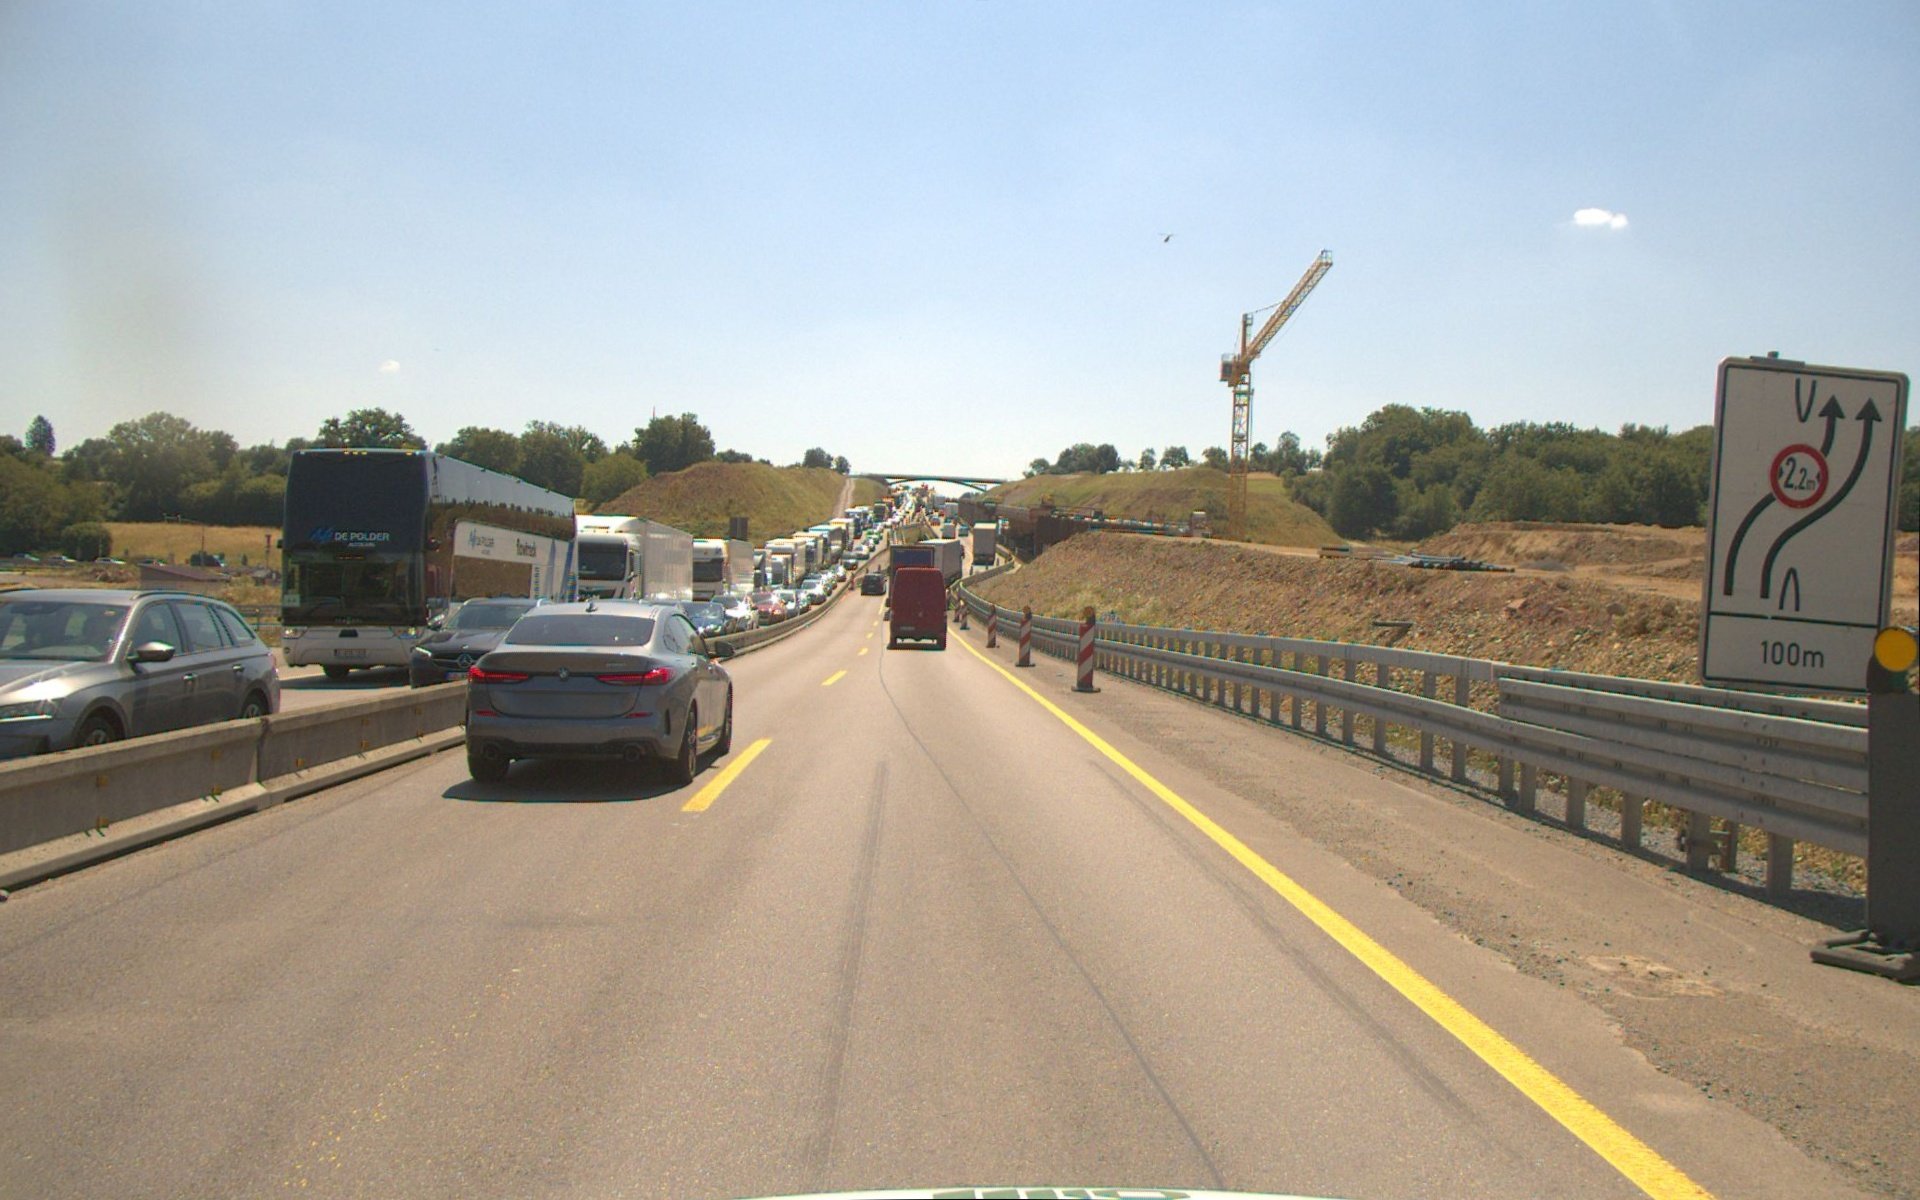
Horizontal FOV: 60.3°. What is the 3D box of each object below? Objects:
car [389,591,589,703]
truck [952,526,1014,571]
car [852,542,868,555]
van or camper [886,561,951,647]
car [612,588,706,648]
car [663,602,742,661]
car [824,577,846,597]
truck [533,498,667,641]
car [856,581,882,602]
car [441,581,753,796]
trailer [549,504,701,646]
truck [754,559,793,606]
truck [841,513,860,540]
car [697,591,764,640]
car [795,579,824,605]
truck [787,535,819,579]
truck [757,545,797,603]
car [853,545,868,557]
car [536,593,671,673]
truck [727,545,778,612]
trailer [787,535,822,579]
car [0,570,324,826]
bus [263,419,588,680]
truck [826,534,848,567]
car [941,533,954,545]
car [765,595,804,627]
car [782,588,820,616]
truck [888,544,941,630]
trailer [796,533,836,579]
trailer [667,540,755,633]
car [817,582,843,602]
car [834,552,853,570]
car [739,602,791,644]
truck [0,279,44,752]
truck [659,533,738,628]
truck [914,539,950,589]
[{"bbox_3d":[-7.063,0.637,25.334,1.801,1.469,4.928,1,1,-2],"label":"car"},{"bbox_3d":[2.900,-6.042,197.041,5.050,5.084,13.889,-1,1,10],"label":"truck"},{"bbox_3d":[-11.842,-6.102,196.043,1.712,1.433,3.999,1,1,-2],"label":"car"},{"bbox_3d":[-1.467,0.096,56.853,1.989,2.792,4.512,1,1,-4],"label":"van or camper"},{"bbox_3d":[-7.726,0.444,42.879,1.796,1.448,4.680,1,0,-3],"label":"car"},{"bbox_3d":[-7.620,0.884,49.313,1.776,1.462,5.118,2,1,-3],"label":"car"},{"bbox_3d":[-11.595,-1.245,153.809,1.954,1.814,3.997,-1,0,-3],"label":"car"},{"bbox_3d":[-11.513,-0.982,53.505,3.035,4.271,6.699,1,1,-2],"label":"truck"},{"bbox_3d":[-7.263,-0.664,132.204,1.972,1.572,4.130,1,1,-3],"label":"car"},{"bbox_3d":[-2.975,0.631,14.576,1.814,1.477,4.741,2,1,-2],"label":"car"},{"bbox_3d":[-11.796,-0.862,59.838,3.077,4.460,14.072,1,0,-2],"label":"trailer"},{"bbox_3d":[-13.210,-1.294,117.367,2.385,3.203,7.020,0,2,-3],"label":"truck"},{"bbox_3d":[-16.964,-11.362,255.533,2.831,3.906,7.996,1,1,-4],"label":"truck"},{"bbox_3d":[-8.275,0.522,60.101,1.954,1.648,4.879,-1,0,-3],"label":"car"},{"bbox_3d":[-10.431,-0.553,114.887,1.790,1.680,4.544,2,0,-3],"label":"car"},{"bbox_3d":[-14.679,-4.004,155.006,2.727,3.937,5.457,1,0,-4],"label":"truck"},{"bbox_3d":[-14.014,-2.009,126.898,2.499,4.304,6.528,1,2,-2],"label":"truck"},{"bbox_3d":[-12.969,-6.370,215.782,1.913,1.556,4.266,1,1,-2],"label":"car"},{"bbox_3d":[-7.365,0.630,34.691,1.880,1.448,5.088,2,1,-2],"label":"car"},{"bbox_3d":[-12.836,-1.363,102.889,2.474,3.923,8.667,1,1,-3],"label":"truck"},{"bbox_3d":[-14.966,-4.069,159.766,2.727,4.000,11.003,1,0,-2],"label":"trailer"},{"bbox_3d":[-6.461,0.587,12.244,1.822,1.520,4.901,-1,0,-3],"label":"car"},{"bbox_3d":[-10.555,-0.825,34.914,2.684,4.338,14.468,1,0,-2],"label":"bus"},{"bbox_3d":[-15.006,-6.033,201.787,2.630,3.906,7.381,1,1,-4],"label":"truck"},{"bbox_3d":[-1.936,-9.397,253.834,1.913,1.669,4.265,2,0,-2],"label":"car"},{"bbox_3d":[-9.150,0.558,86.509,1.790,1.601,3.998,1,0,-3],"label":"car"},{"bbox_3d":[-9.398,0.128,98.126,1.953,1.584,4.337,-1,0,-2],"label":"car"},{"bbox_3d":[-2.659,-0.834,96.072,2.960,4.774,6.930,-1,1,-2],"label":"truck"},{"bbox_3d":[-15.237,-4.693,175.800,2.980,4.631,12.129,1,1,0],"label":"trailer"},{"bbox_3d":[-12.499,-0.689,84.407,2.926,4.282,13.939,1,0,-3],"label":"trailer"},{"bbox_3d":[-10.220,-0.629,130.331,1.790,1.562,4.544,-1,0,-3],"label":"car"},{"bbox_3d":[-12.331,-4.136,175.610,1.954,1.814,3.998,1,1,-3],"label":"car"},{"bbox_3d":[-8.768,1.005,74.640,1.954,1.659,4.756,2,1,-3],"label":"car"},{"bbox_3d":[-9.840,-0.778,10.433,2.746,4.225,10.075,0,0,-2],"label":"truck"},{"bbox_3d":[-12.181,-0.906,77.518,2.917,4.258,5.872,1,0,-2],"label":"truck"},{"bbox_3d":[-2.505,-3.107,146.051,2.977,4.172,7.081,0,0,-3],"label":"truck"}]
